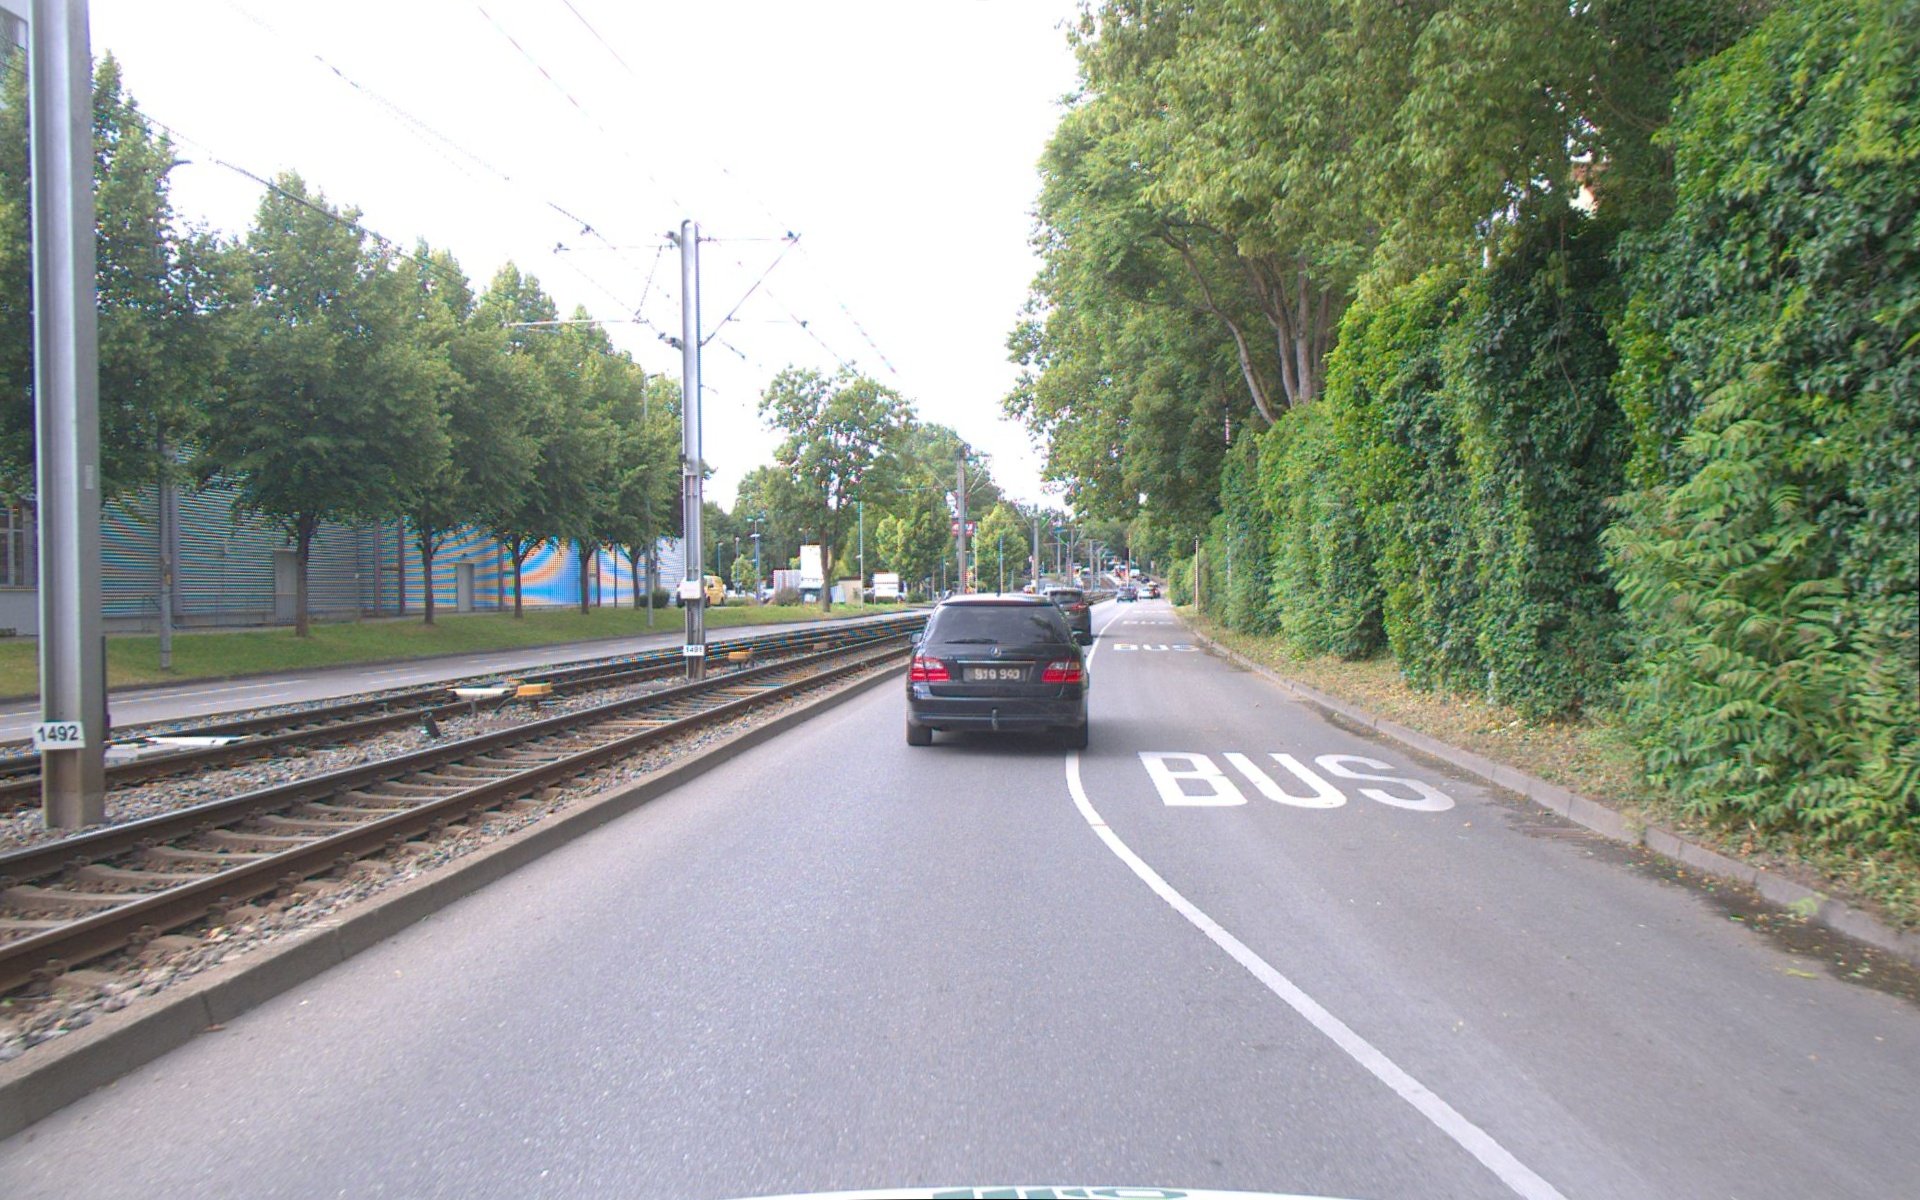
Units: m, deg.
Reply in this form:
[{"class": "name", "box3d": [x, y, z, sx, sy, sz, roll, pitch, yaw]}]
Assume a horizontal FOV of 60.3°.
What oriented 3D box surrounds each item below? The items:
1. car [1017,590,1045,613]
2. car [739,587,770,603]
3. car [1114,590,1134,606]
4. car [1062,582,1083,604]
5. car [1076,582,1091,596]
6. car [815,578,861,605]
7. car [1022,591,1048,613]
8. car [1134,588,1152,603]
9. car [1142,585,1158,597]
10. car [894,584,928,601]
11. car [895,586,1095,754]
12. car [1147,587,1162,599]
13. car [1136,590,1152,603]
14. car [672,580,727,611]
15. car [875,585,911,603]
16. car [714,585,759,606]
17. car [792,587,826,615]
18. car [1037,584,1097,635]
[{"class": "car", "box3d": [5.001, 0.096, 115.772, 1.787, 1.556, 3.988, 0, 0, 4]}, {"class": "car", "box3d": [-28.901, -0.748, 232.414, 3.902, 2.049, 2.001, -3, 0, 7]}, {"class": "car", "box3d": [16.149, -0.242, 163.047, 1.787, 1.556, 4.418, 0, 0, 4]}, {"class": "car", "box3d": [10.889, -0.666, 160.393, 1.852, 2.049, 3.899, -3, 0, 3]}, {"class": "car", "box3d": [14.805, -1.320, 197.932, 1.787, 1.556, 4.181, 0, 0, 4]}, {"class": "car", "box3d": [-10.840, -0.736, 147.369, 3.907, 2.160, 1.999, -3, 0, -2]}, {"class": "car", "box3d": [5.491, 0.158, 120.703, 1.787, 1.556, 3.988, 0, 0, 4]}, {"class": "car", "box3d": [19.100, -0.434, 172.848, 1.787, 1.556, 4.181, 0, 0, 4]}, {"class": "car", "box3d": [24.513, -1.158, 213.396, 1.787, 1.556, 4.181, 0, 0, 4]}, {"class": "car", "box3d": [-5.343, -0.787, 179.385, 3.621, 1.847, 1.793, -1, 0, -5]}, {"class": "car", "box3d": [0.443, 0.625, 17.048, 1.795, 1.504, 4.418, 0, 0, 3]}, {"class": "car", "box3d": [26.556, -0.965, 226.067, 1.787, 1.556, 4.181, 0, 0, 4]}, {"class": "car", "box3d": [22.638, -0.424, 203.596, 1.787, 1.556, 4.181, 0, 0, 4]}, {"class": "car", "box3d": [-15.357, -0.243, 97.867, 1.951, 1.773, 4.991, 0, 0, 7]}, {"class": "car", "box3d": [-6.841, -0.600, 168.128, 3.621, 1.847, 1.793, -1, 0, -5]}, {"class": "car", "box3d": [-20.616, -0.427, 152.379, 3.918, 1.709, 1.994, -3, 0, -12]}, {"class": "car", "box3d": [-11.570, 0.092, 126.804, 1.952, 2.049, 4.001, -3, 0, 2]}, {"class": "car", "box3d": [3.393, 0.281, 52.961, 1.787, 1.556, 4.417, 0, 0, 2]}]
